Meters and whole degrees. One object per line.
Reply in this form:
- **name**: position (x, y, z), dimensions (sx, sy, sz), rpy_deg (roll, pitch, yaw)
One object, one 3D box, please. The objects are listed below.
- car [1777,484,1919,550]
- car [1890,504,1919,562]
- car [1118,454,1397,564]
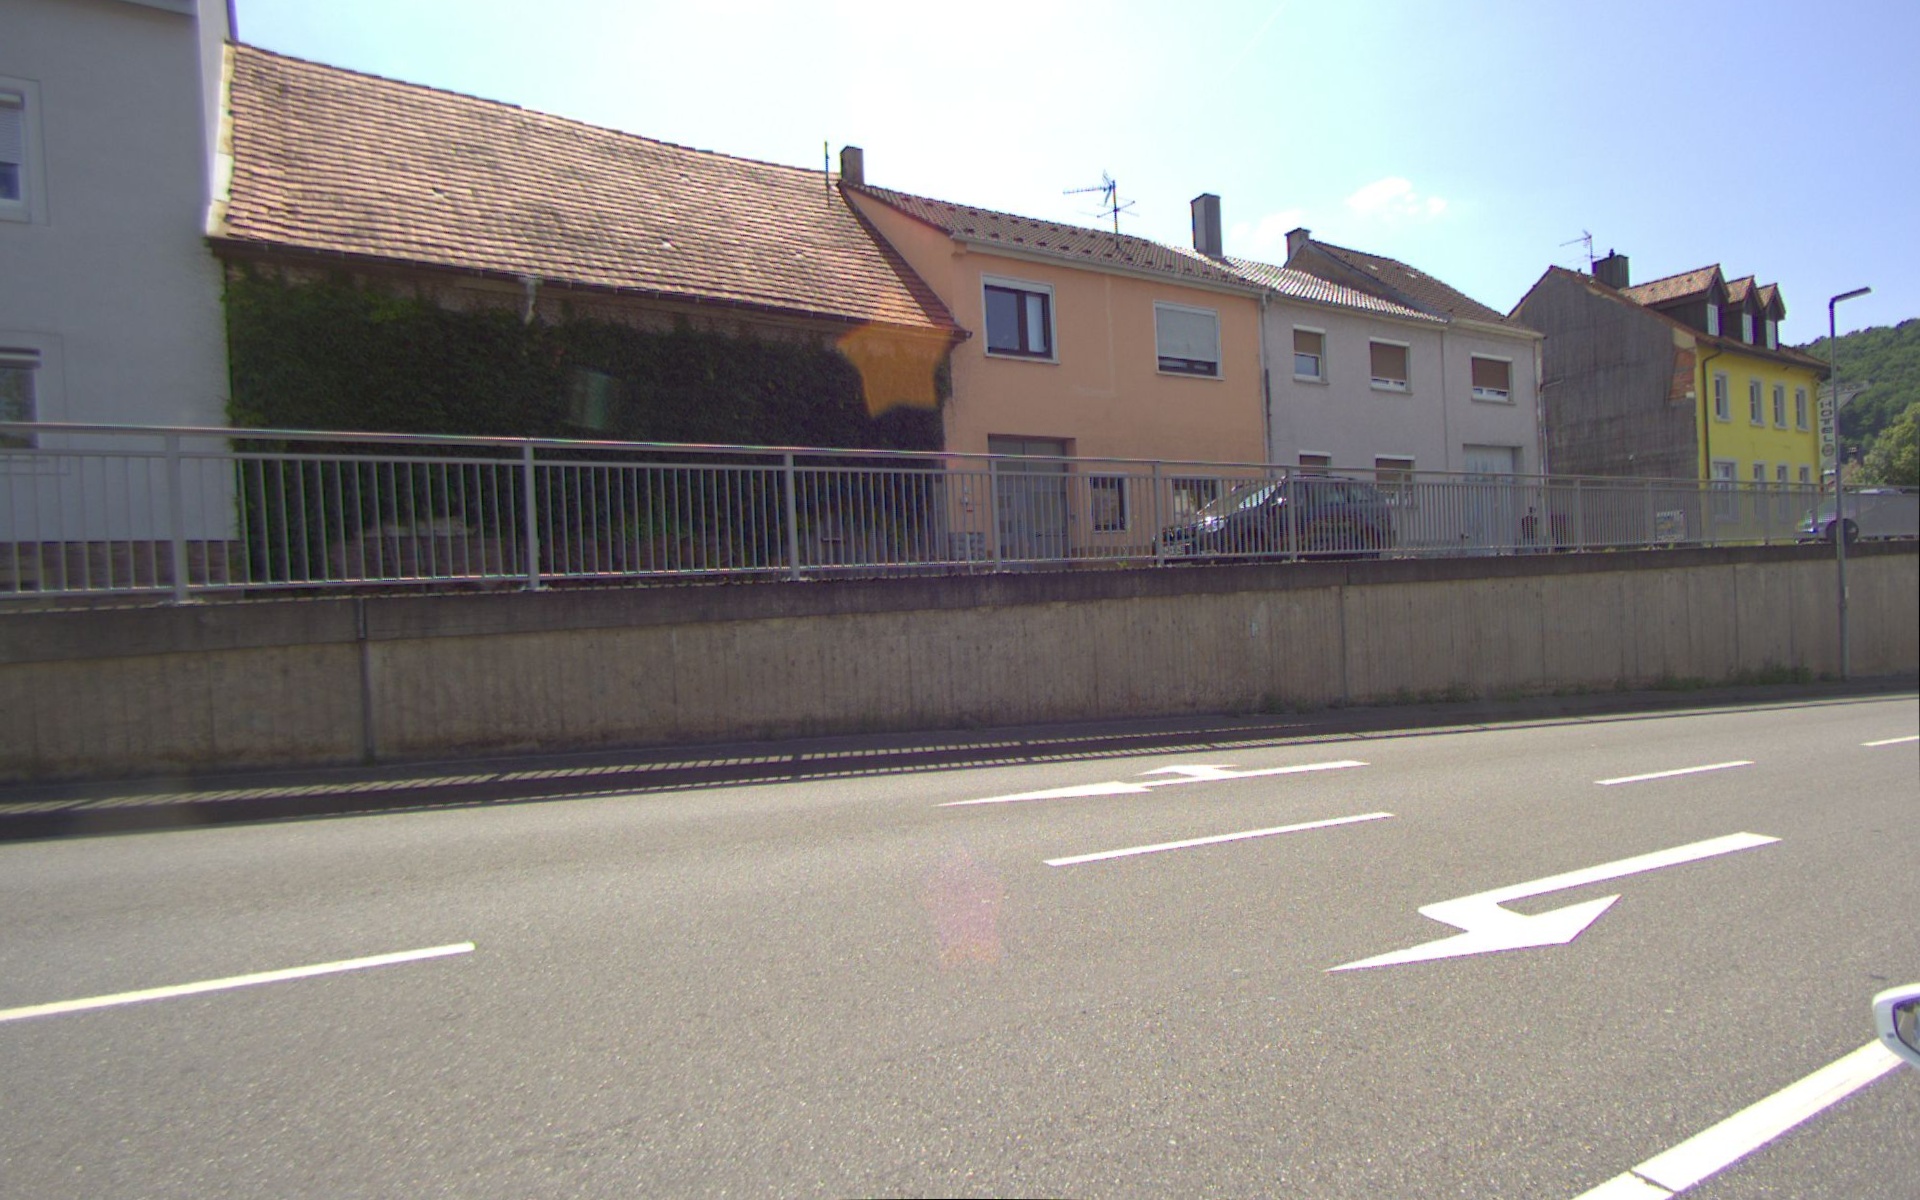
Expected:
- **car**: position (23.967, -2.176, 27.042), dimensions (4.345, 1.545, 1.788), rpy_deg (-2, 0, -33)
- **car**: position (30.964, -2.106, 31.372), dimensions (4.176, 1.728, 1.812), rpy_deg (-2, 0, -33)
- **car**: position (4.727, -1.339, 15.761), dimensions (4.345, 1.424, 1.775), rpy_deg (-2, 0, -33)
